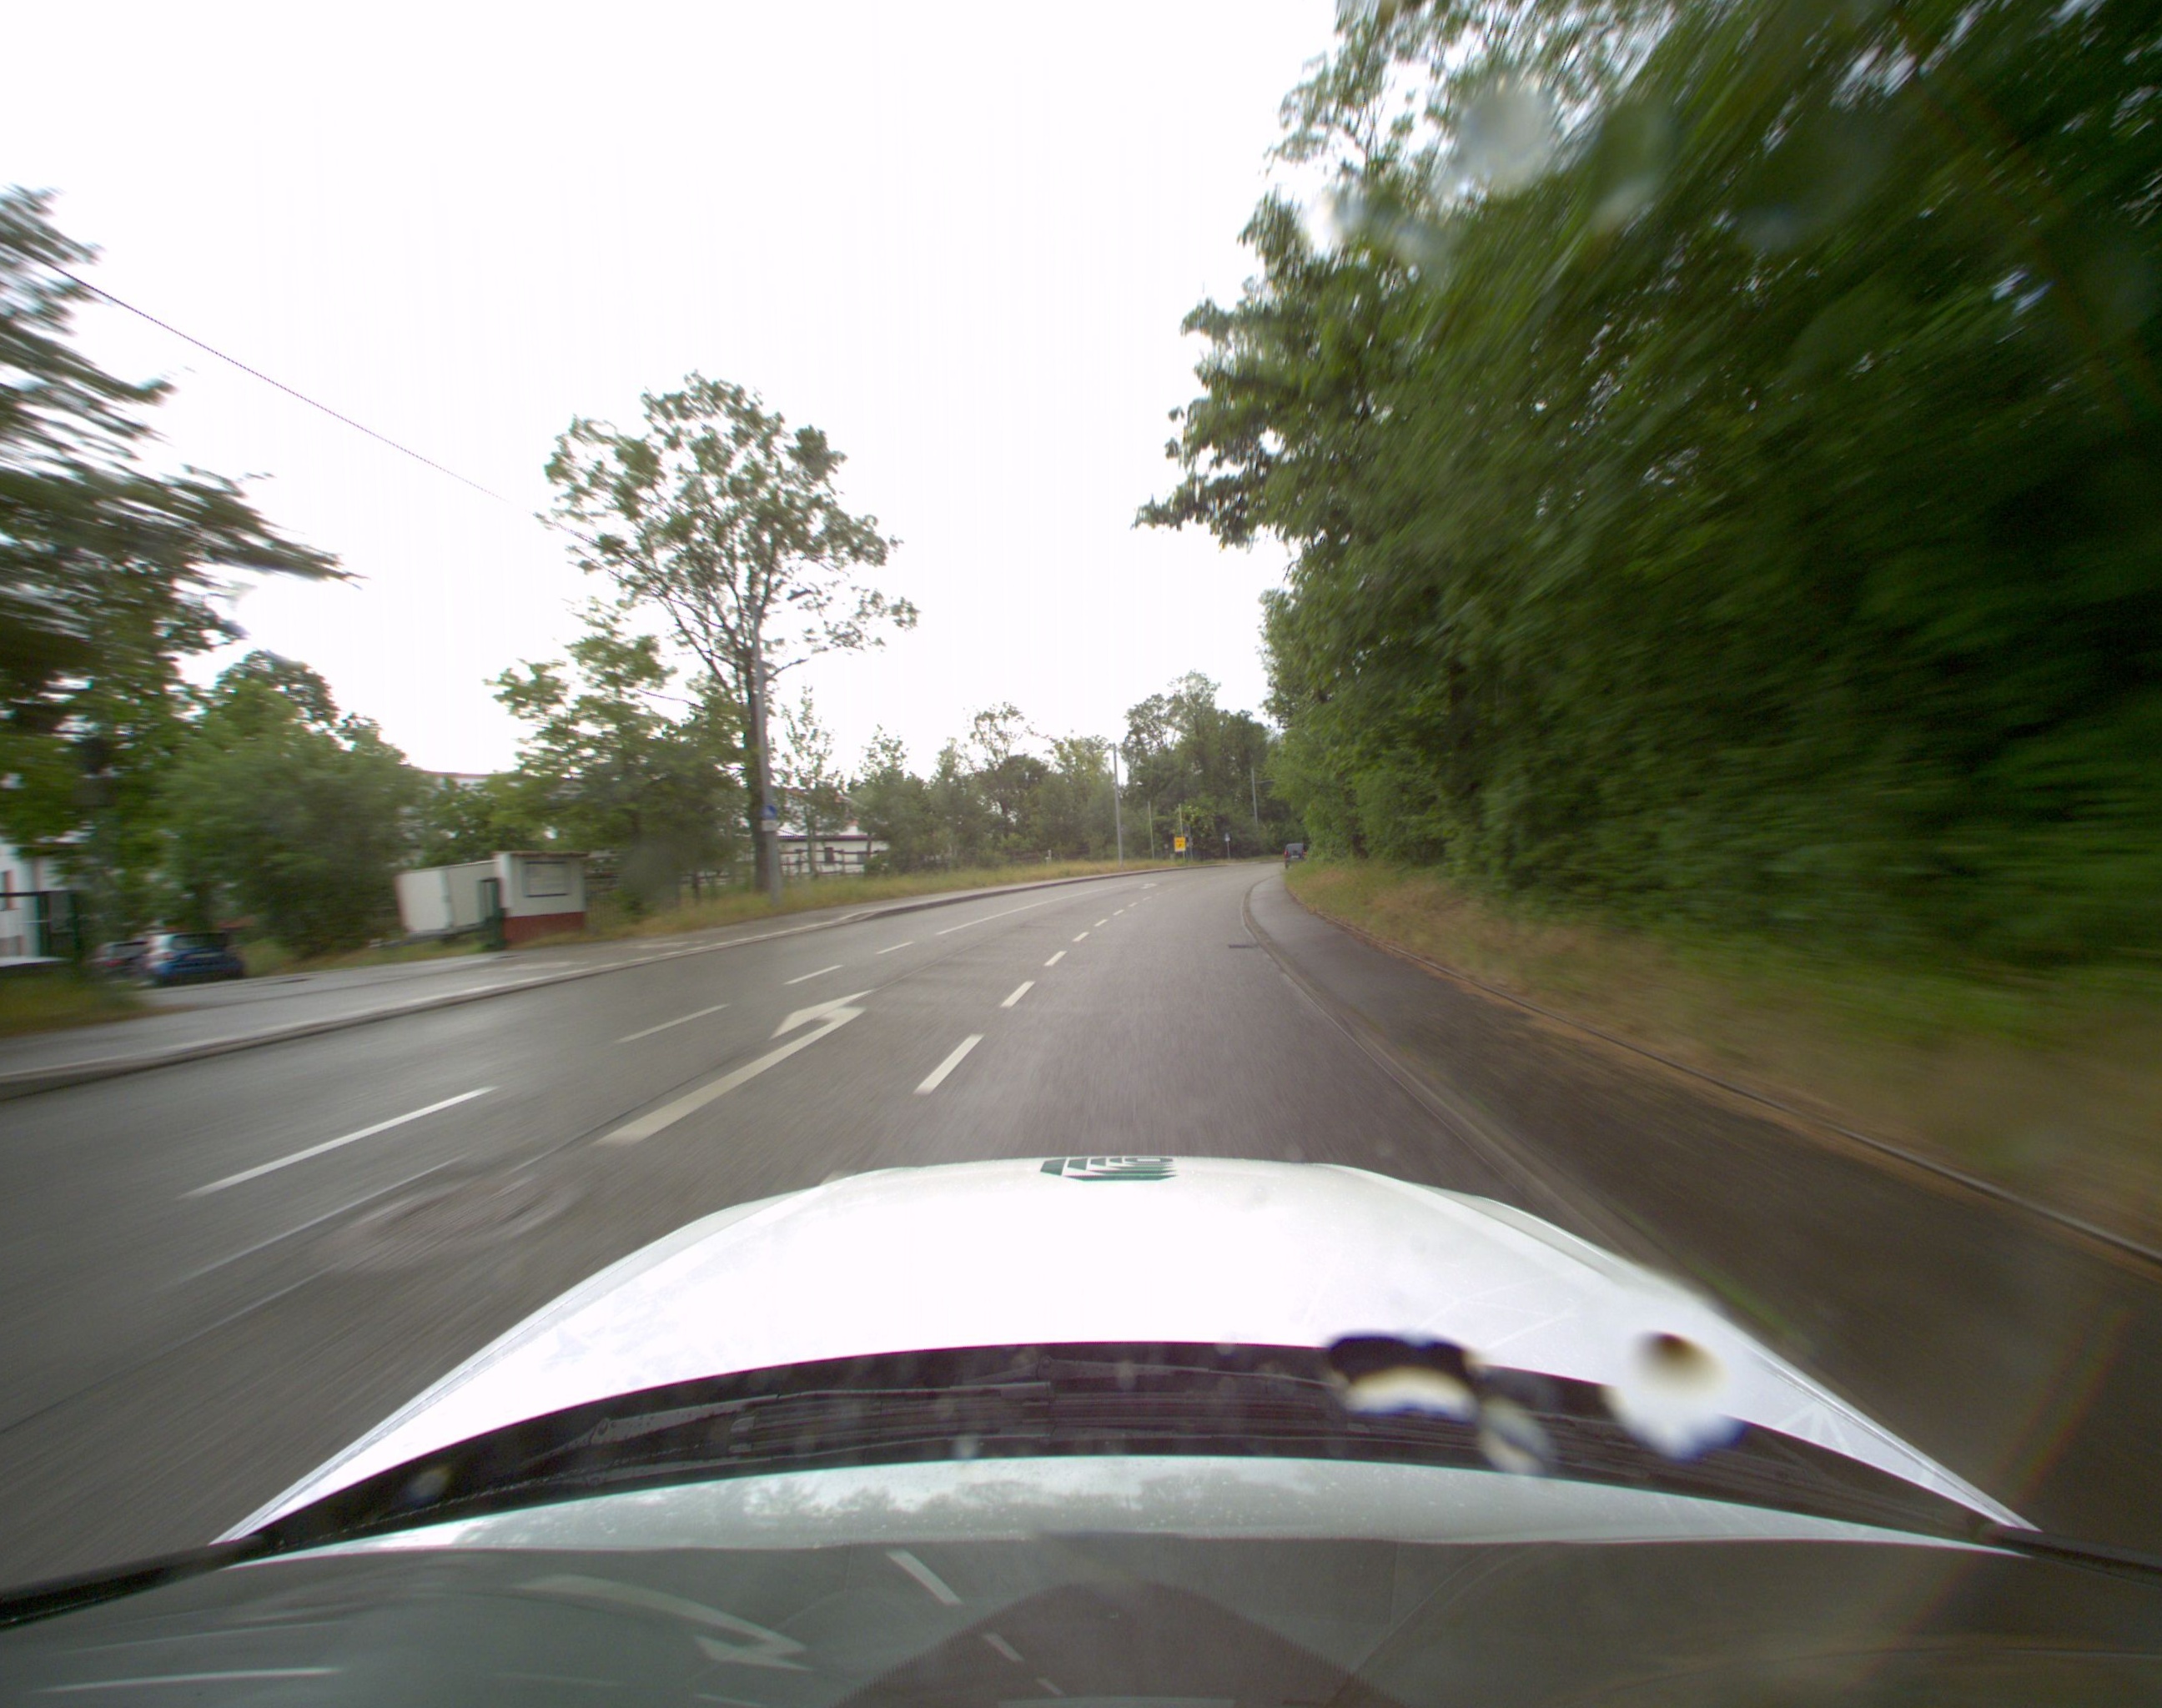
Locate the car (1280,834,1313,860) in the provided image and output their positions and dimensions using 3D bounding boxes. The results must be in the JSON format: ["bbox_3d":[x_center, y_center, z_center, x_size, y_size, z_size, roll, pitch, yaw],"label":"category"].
[{"bbox_3d":[15.952,-0.503,60.285,1.811,1.794,4.021,-1,-1,22],"label":"car"}]
